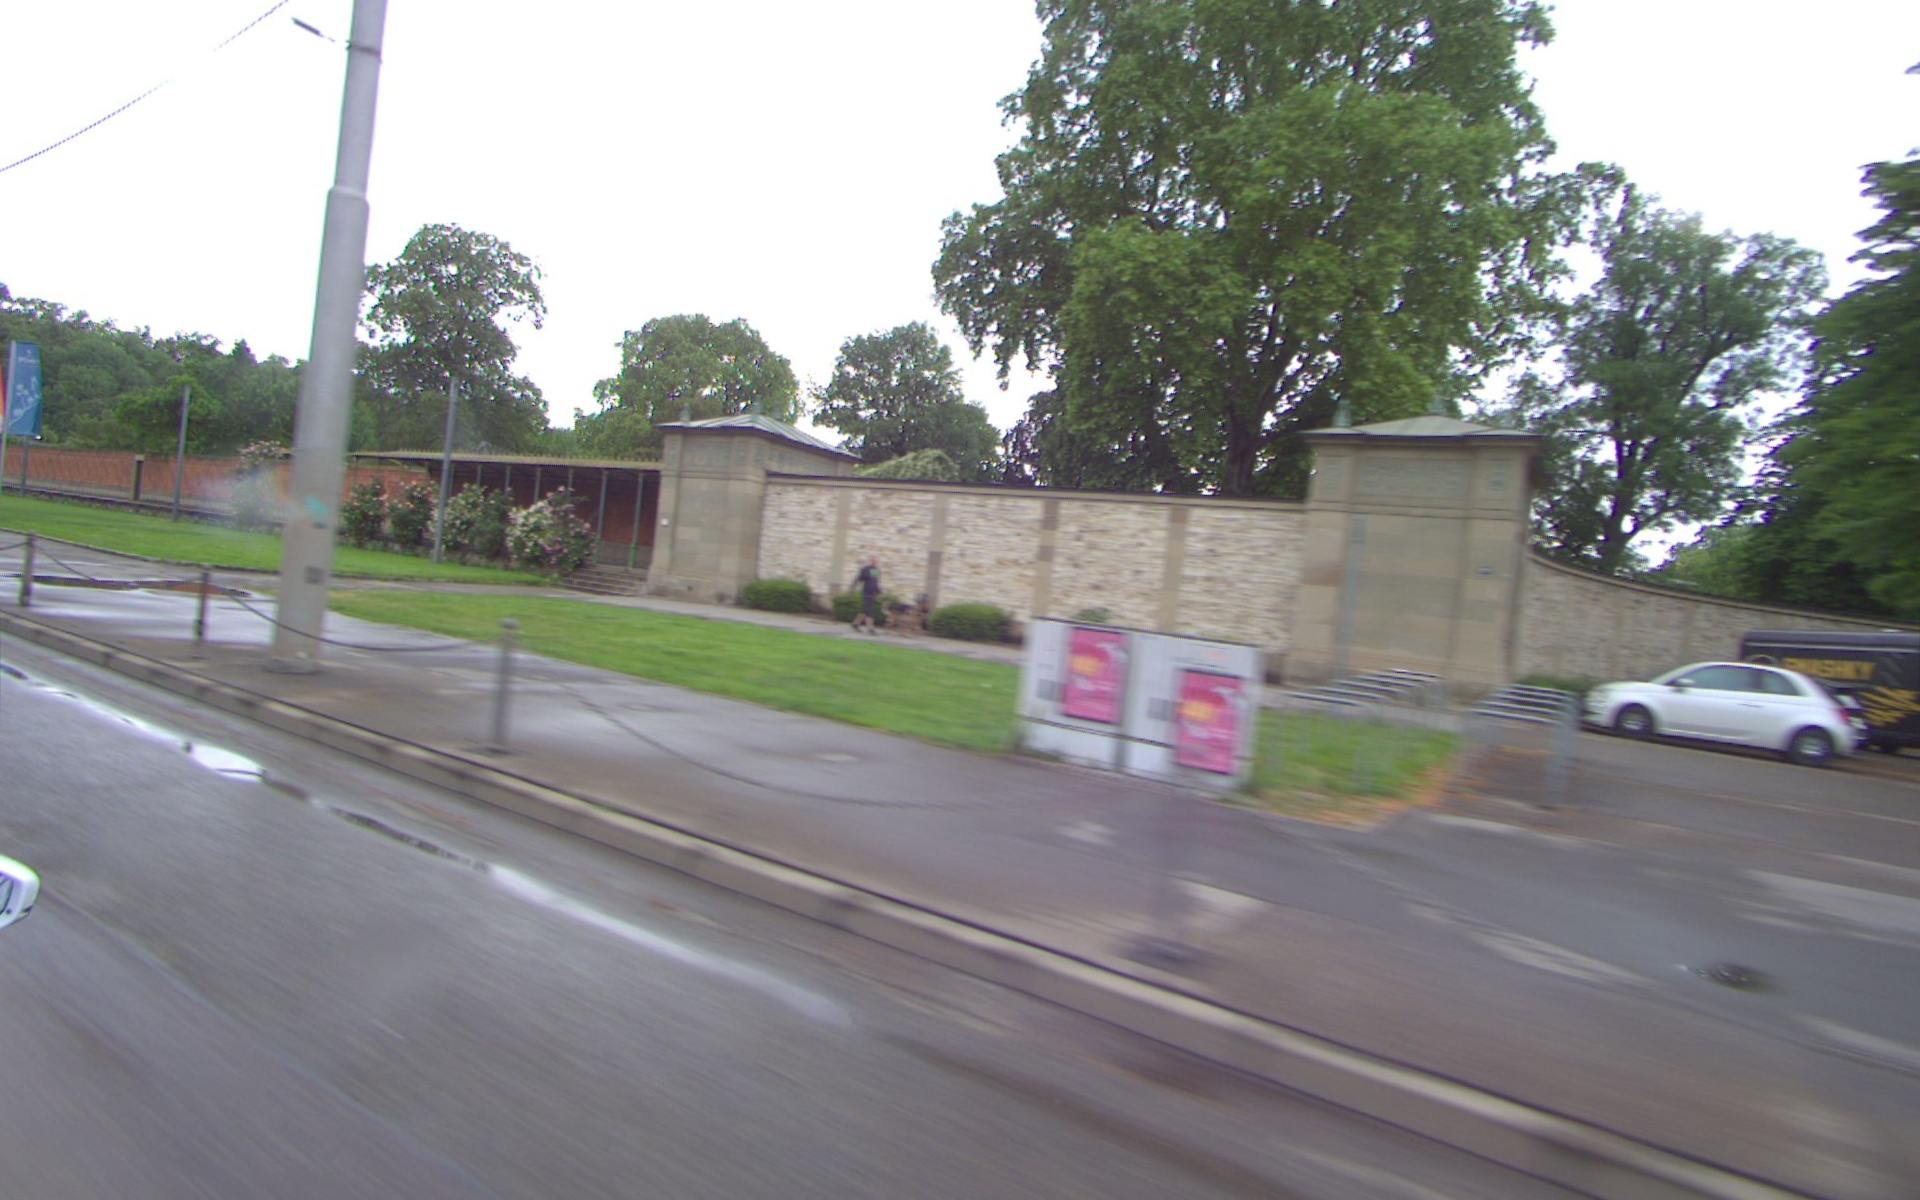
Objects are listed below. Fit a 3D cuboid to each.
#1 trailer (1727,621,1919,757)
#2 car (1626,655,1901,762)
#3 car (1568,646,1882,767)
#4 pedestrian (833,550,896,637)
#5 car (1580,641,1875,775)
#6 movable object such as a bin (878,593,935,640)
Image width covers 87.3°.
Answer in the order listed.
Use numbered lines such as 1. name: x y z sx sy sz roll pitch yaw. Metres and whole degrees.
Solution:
1. trailer: 22.283 2.193 24.228 2.115 2.821 5.633 6 1 -17
2. car: 16.739 2.203 21.224 1.753 1.547 4.079 6 1 -23
3. car: 13.909 1.877 18.637 4.111 1.508 1.899 7 1 21
4. pedestrian: -2.049 -0.137 21.593 0.965 1.732 0.728 6 1 33
5. car: 12.452 1.697 16.653 3.538 1.473 1.838 9 2 32
6. movable object such as a bin: -1.150 0.352 21.680 1.172 0.883 0.342 6 1 33
